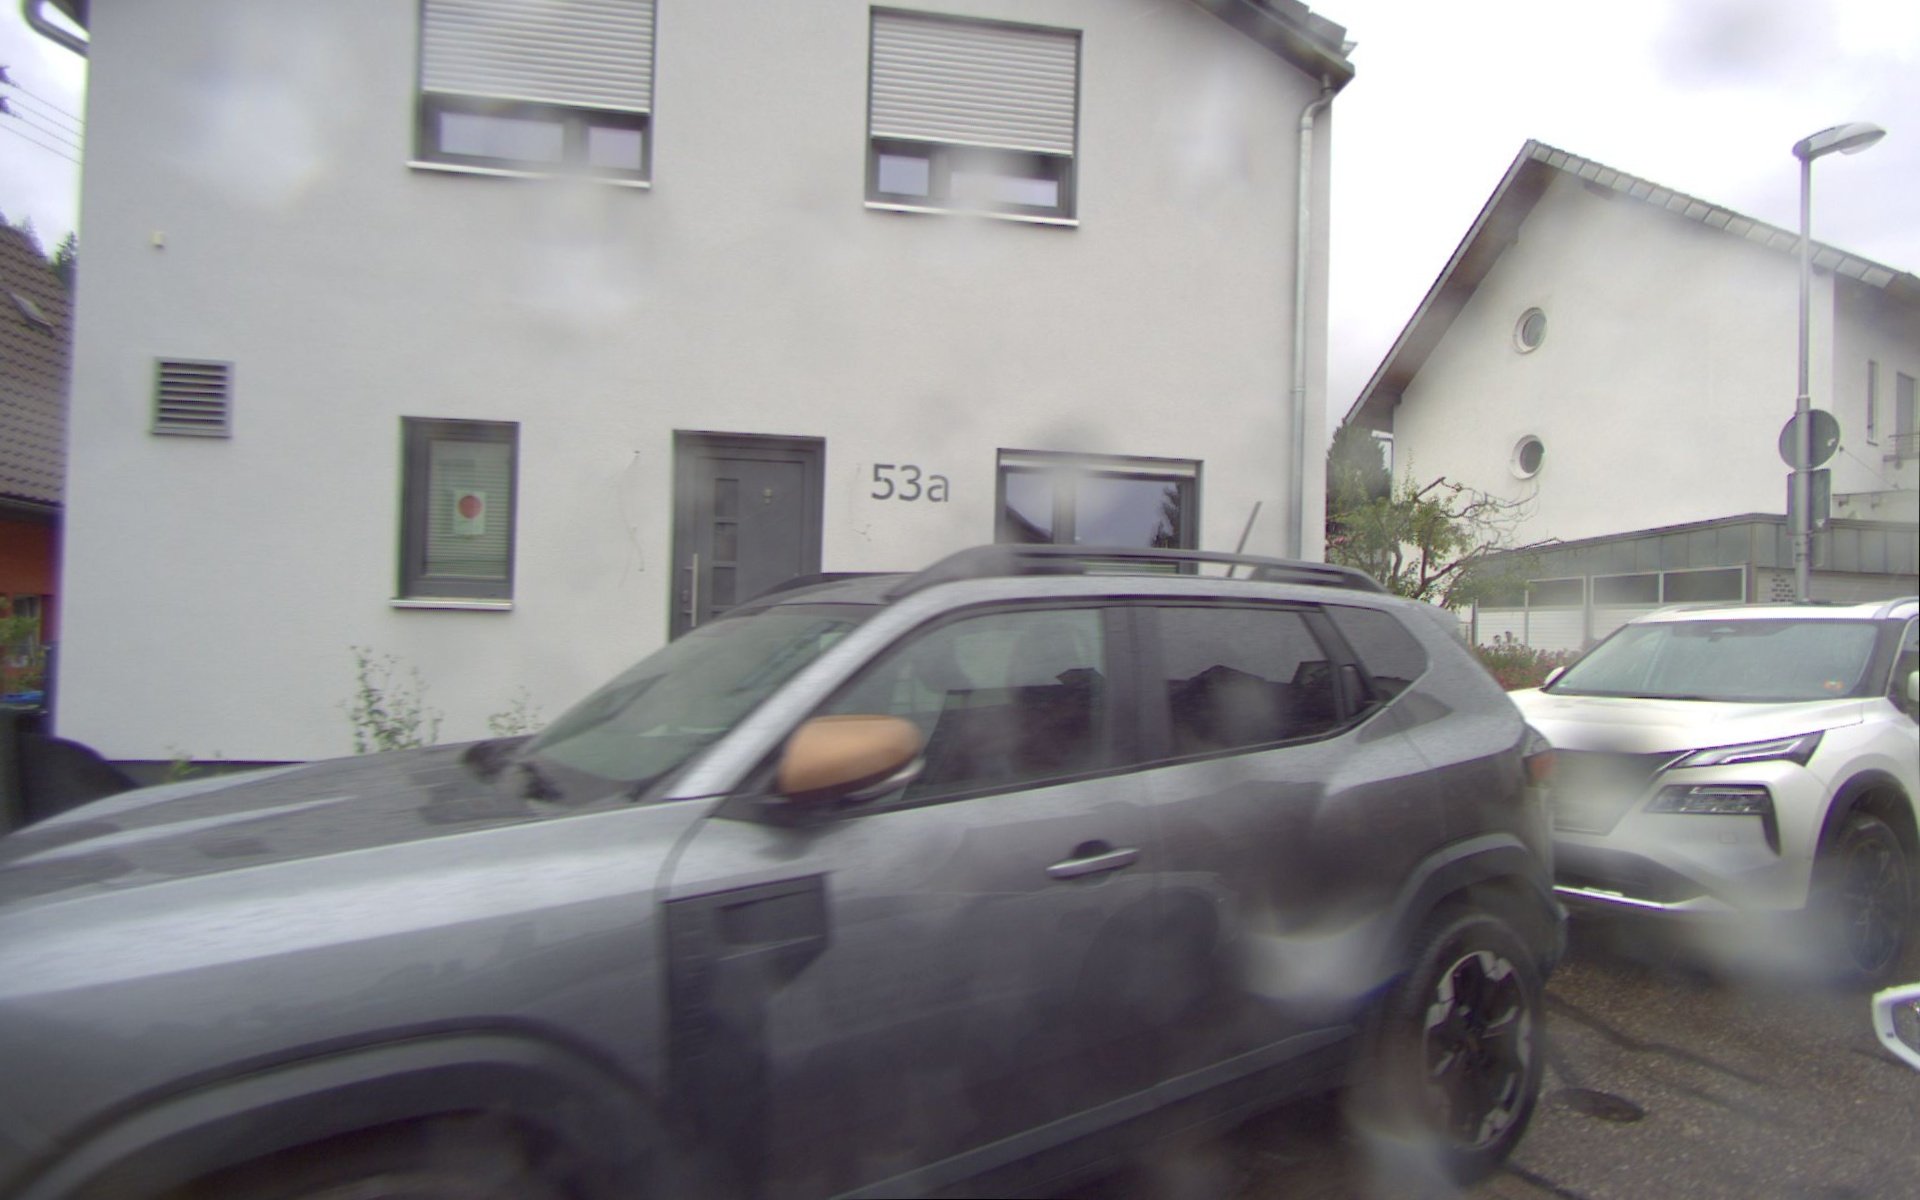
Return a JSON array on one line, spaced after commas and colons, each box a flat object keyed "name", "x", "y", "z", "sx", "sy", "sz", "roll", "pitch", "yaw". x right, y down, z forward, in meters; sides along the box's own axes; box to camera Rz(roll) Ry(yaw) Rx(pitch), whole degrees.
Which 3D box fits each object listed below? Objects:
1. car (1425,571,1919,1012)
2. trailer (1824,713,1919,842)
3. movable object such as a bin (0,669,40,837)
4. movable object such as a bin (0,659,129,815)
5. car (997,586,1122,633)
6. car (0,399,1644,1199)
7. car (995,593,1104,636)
[{"name": "car", "x": 4.794, "y": 0.844, "z": 5.637, "sx": 4.365, "sy": 1.657, "sz": 1.741, "roll": 3, "pitch": -4, "yaw": -29}, {"name": "trailer", "x": 7.938, "y": 1.319, "z": 7.515, "sx": 2.645, "sy": 0.839, "sz": 1.476, "roll": 3, "pitch": -4, "yaw": -31}, {"name": "movable object such as a bin", "x": -6.552, "y": 0.999, "z": 6.481, "sx": 0.663, "sy": 1.069, "sz": 0.613, "roll": 1, "pitch": 0, "yaw": -8}, {"name": "movable object such as a bin", "x": -6.774, "y": 0.998, "z": 7.475, "sx": 0.663, "sy": 1.069, "sz": 0.613, "roll": 1, "pitch": 0, "yaw": -8}, {"name": "car", "x": 3.203, "y": 0.293, "z": 32.998, "sx": 1.980, "sy": 1.439, "sz": 3.960, "roll": 1, "pitch": 0, "yaw": -35}, {"name": "car", "x": -0.099, "y": 0.720, "z": 2.730, "sx": 3.972, "sy": 1.803, "sz": 1.802, "roll": 1, "pitch": -1, "yaw": -32}, {"name": "car", "x": 3.302, "y": 0.529, "z": 37.598, "sx": 1.981, "sy": 1.439, "sz": 3.961, "roll": 4, "pitch": -2, "yaw": -35}]
